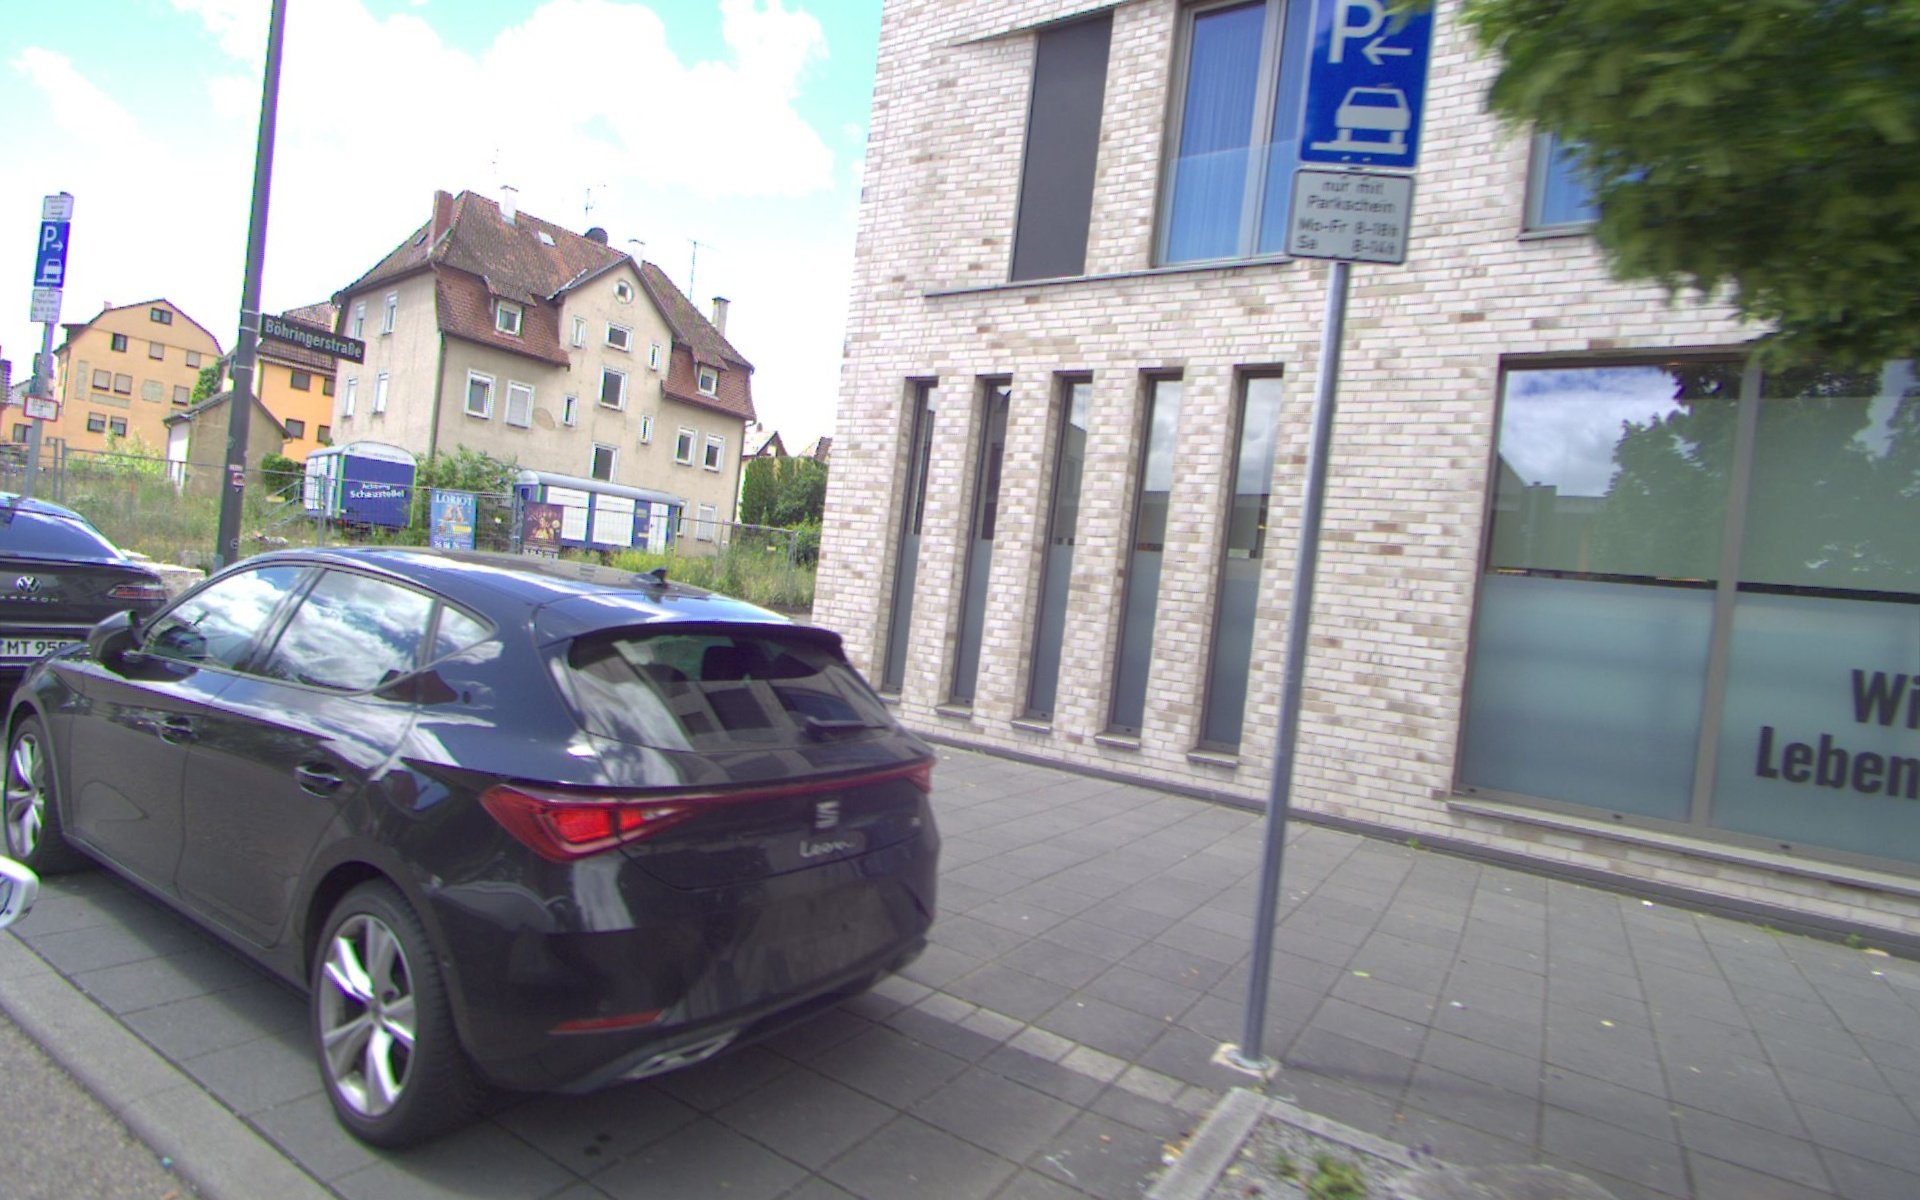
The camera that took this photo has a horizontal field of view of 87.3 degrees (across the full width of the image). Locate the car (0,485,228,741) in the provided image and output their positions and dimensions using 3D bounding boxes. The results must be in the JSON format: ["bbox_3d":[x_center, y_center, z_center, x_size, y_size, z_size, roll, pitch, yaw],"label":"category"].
[{"bbox_3d":[-7.328,-0.128,7.122,4.567,1.469,1.866,7,1,32],"label":"car"}]

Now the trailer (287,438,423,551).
[{"bbox_3d":[-20.299,-3.489,33.589,2.396,3.162,6.082,5,1,-44],"label":"trailer"}]

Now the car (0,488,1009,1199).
[{"bbox_3d":[-2.054,0.500,3.810,4.080,1.480,1.693,7,1,34],"label":"car"}]

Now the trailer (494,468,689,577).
[{"bbox_3d":[-13.385,-2.759,36.966,2.379,3.162,6.128,7,1,42],"label":"trailer"}]
